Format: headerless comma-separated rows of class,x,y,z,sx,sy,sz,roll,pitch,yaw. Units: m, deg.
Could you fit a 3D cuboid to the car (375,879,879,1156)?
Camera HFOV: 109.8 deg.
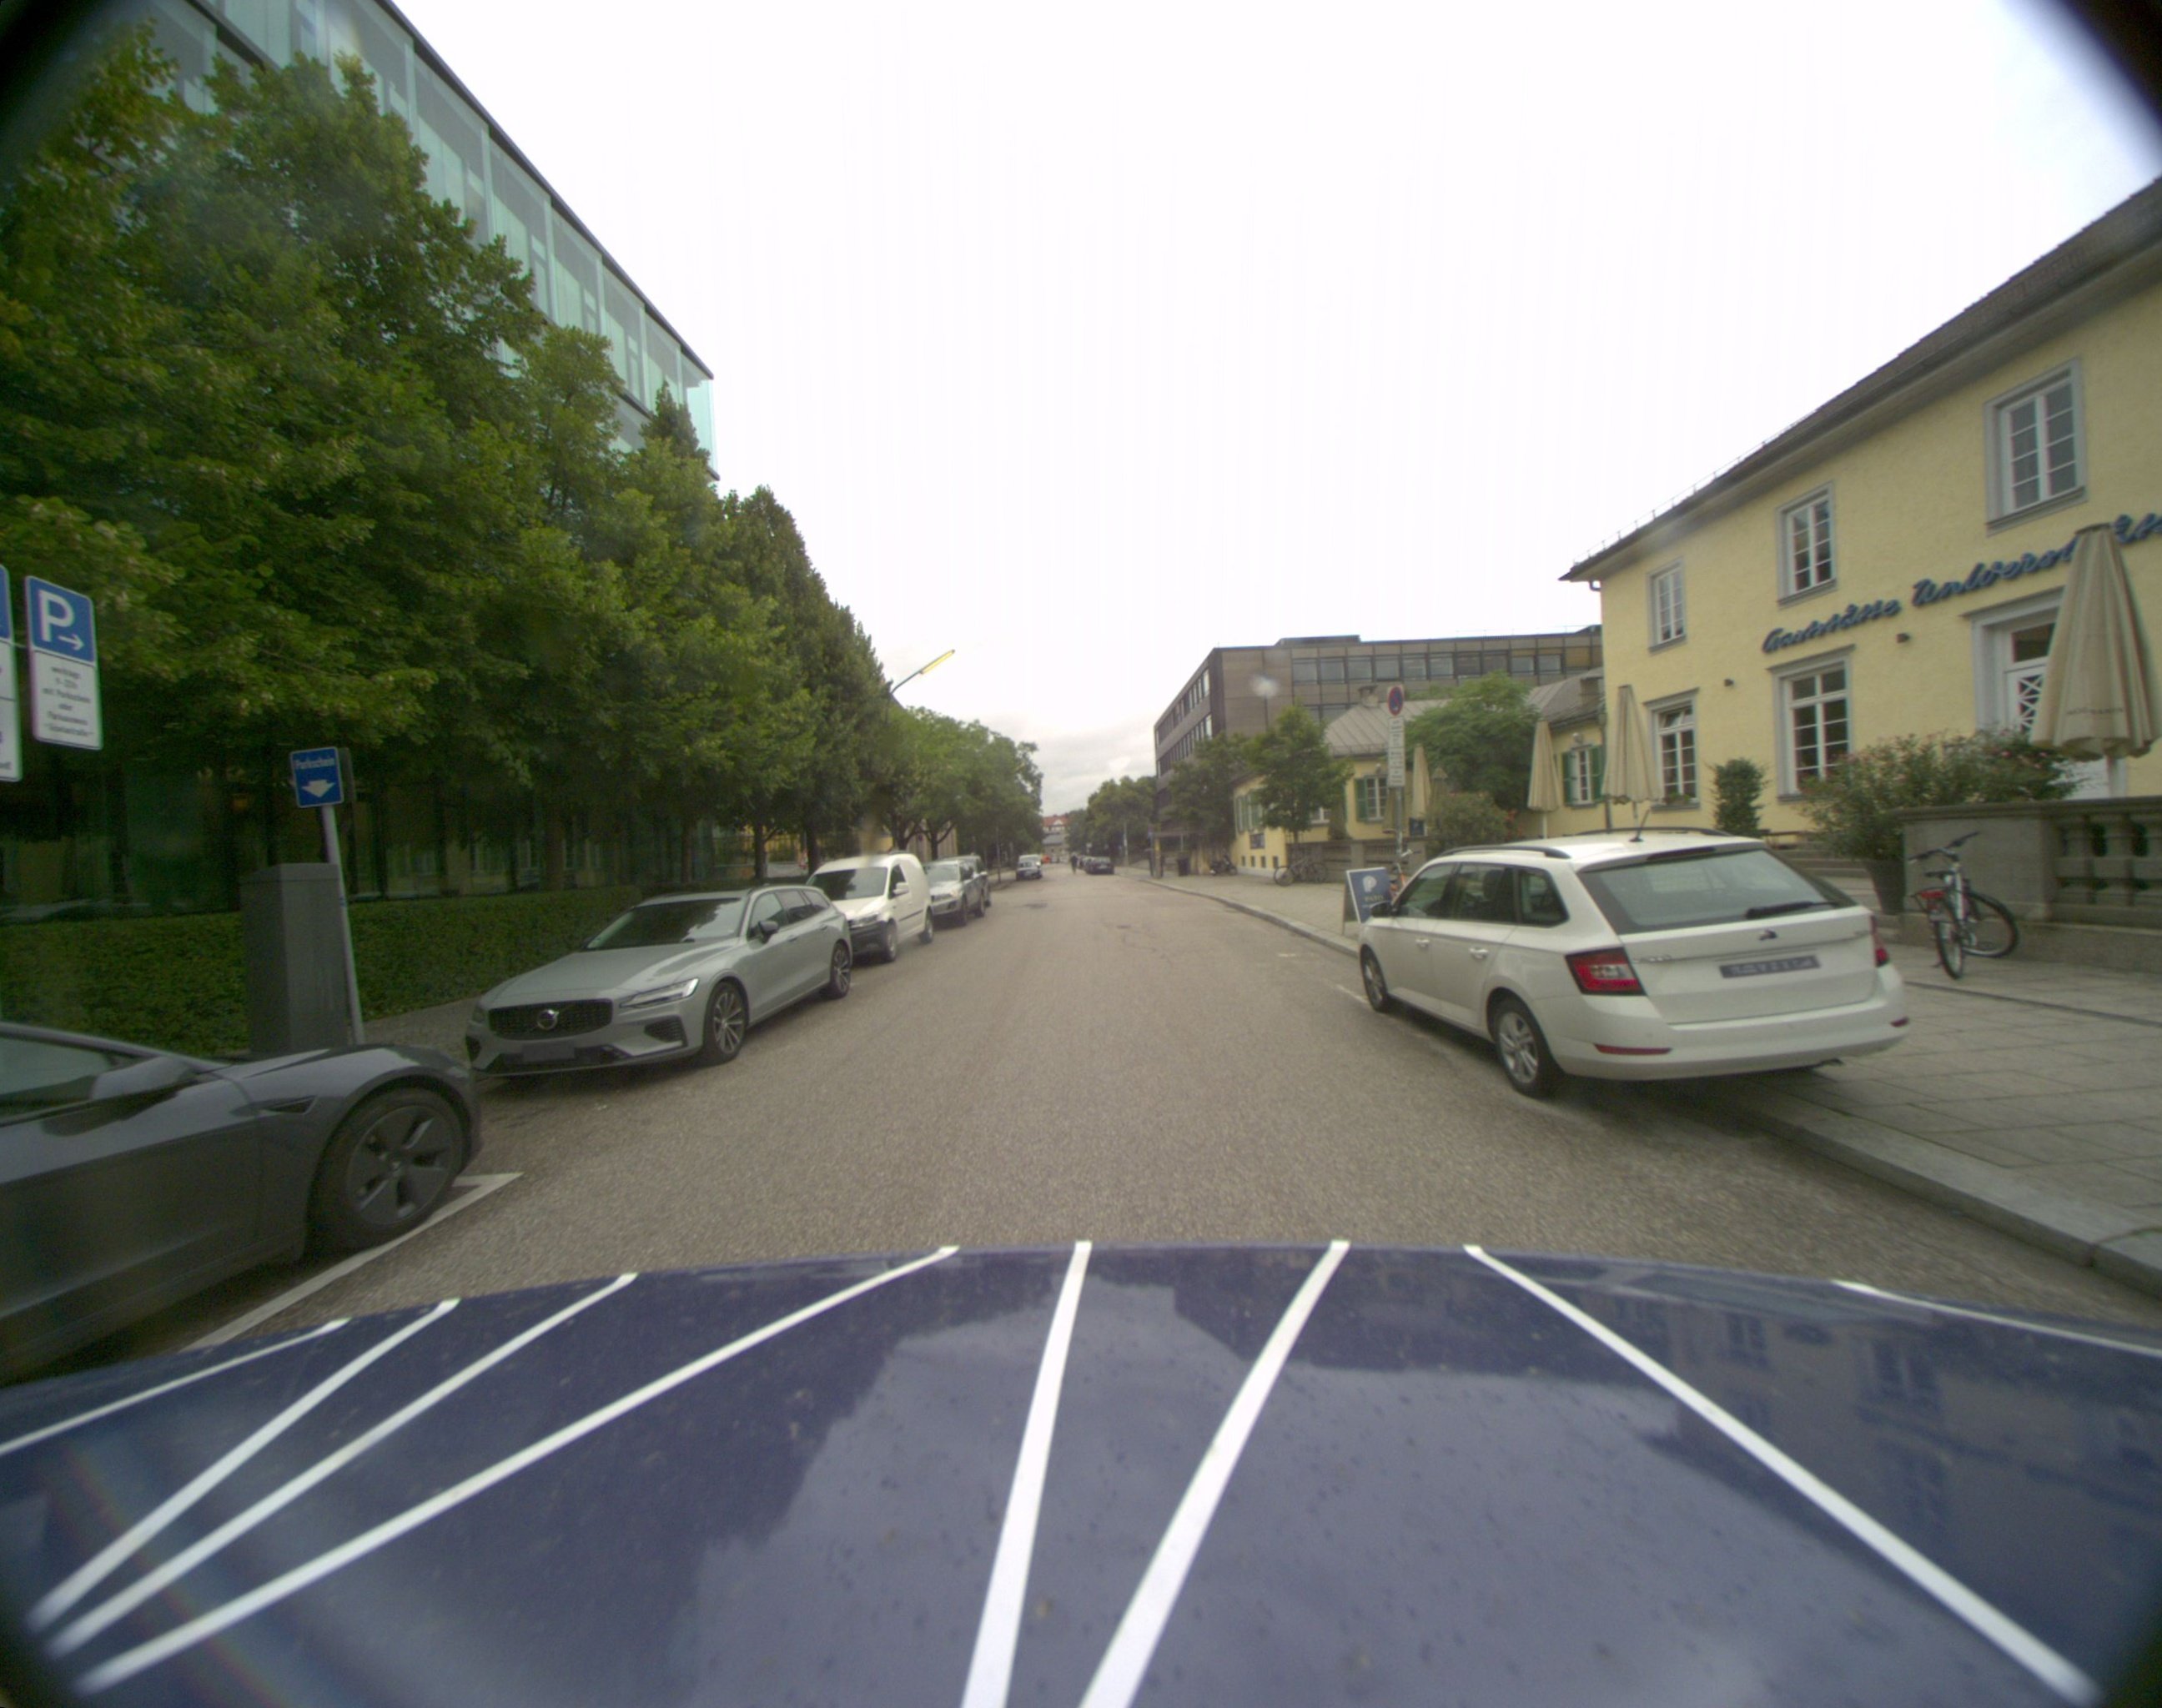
car,-3.785,1.209,7.724,1.952,1.543,5.004,-5,1,1

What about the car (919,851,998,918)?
car,-3.816,0.889,24.380,1.815,1.797,4.346,-5,1,-2

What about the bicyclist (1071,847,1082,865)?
bicyclist,-0.388,0.193,69.108,0.903,1.602,1.067,-2,1,-2

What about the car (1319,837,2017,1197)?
car,3.311,0.711,5.615,1.729,1.483,4.461,-5,1,2

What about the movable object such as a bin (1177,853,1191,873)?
movable object such as a bin,5.985,0.513,44.135,0.615,1.102,0.460,-5,1,-2

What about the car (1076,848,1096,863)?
car,0.578,0.111,86.170,1.999,1.555,3.999,-3,1,-2

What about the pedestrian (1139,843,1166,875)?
pedestrian,4.777,0.321,50.914,1.479,2.002,1.500,-5,1,-2

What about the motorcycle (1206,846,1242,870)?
motorcycle,7.369,0.221,39.200,1.664,1.106,0.591,-5,2,42

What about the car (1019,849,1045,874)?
car,-4.038,0.598,63.210,1.831,1.884,4.485,-5,1,-2

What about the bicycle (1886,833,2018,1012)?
bicycle,7.131,0.497,6.200,1.571,1.254,0.569,-3,0,-38

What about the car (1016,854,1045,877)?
car,-3.752,0.852,57.148,1.958,1.494,4.485,-5,1,-2

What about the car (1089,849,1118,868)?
car,1.799,0.331,61.466,1.929,1.391,4.485,-3,0,-2

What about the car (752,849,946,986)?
car,-3.860,0.931,13.605,1.789,1.884,4.574,-5,1,2

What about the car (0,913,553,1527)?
car,-4.095,1.206,1.838,1.967,1.543,4.850,-5,1,3

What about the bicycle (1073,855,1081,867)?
bicycle,-0.357,0.659,69.171,0.607,1.014,2.307,-2,0,-2

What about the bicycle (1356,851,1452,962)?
bicycle,4.437,0.671,10.566,0.781,1.361,1.696,-4,1,9

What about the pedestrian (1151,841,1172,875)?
pedestrian,5.007,0.260,47.300,0.977,2.002,0.914,-5,1,-2

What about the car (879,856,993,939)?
car,-3.568,0.987,19.638,1.872,1.682,4.784,-5,1,1

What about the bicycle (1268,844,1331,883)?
bicycle,7.309,0.313,25.407,1.847,1.028,0.466,-8,0,1

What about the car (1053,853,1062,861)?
car,-6.191,0.817,200.259,1.999,2.002,3.998,-5,1,-3
